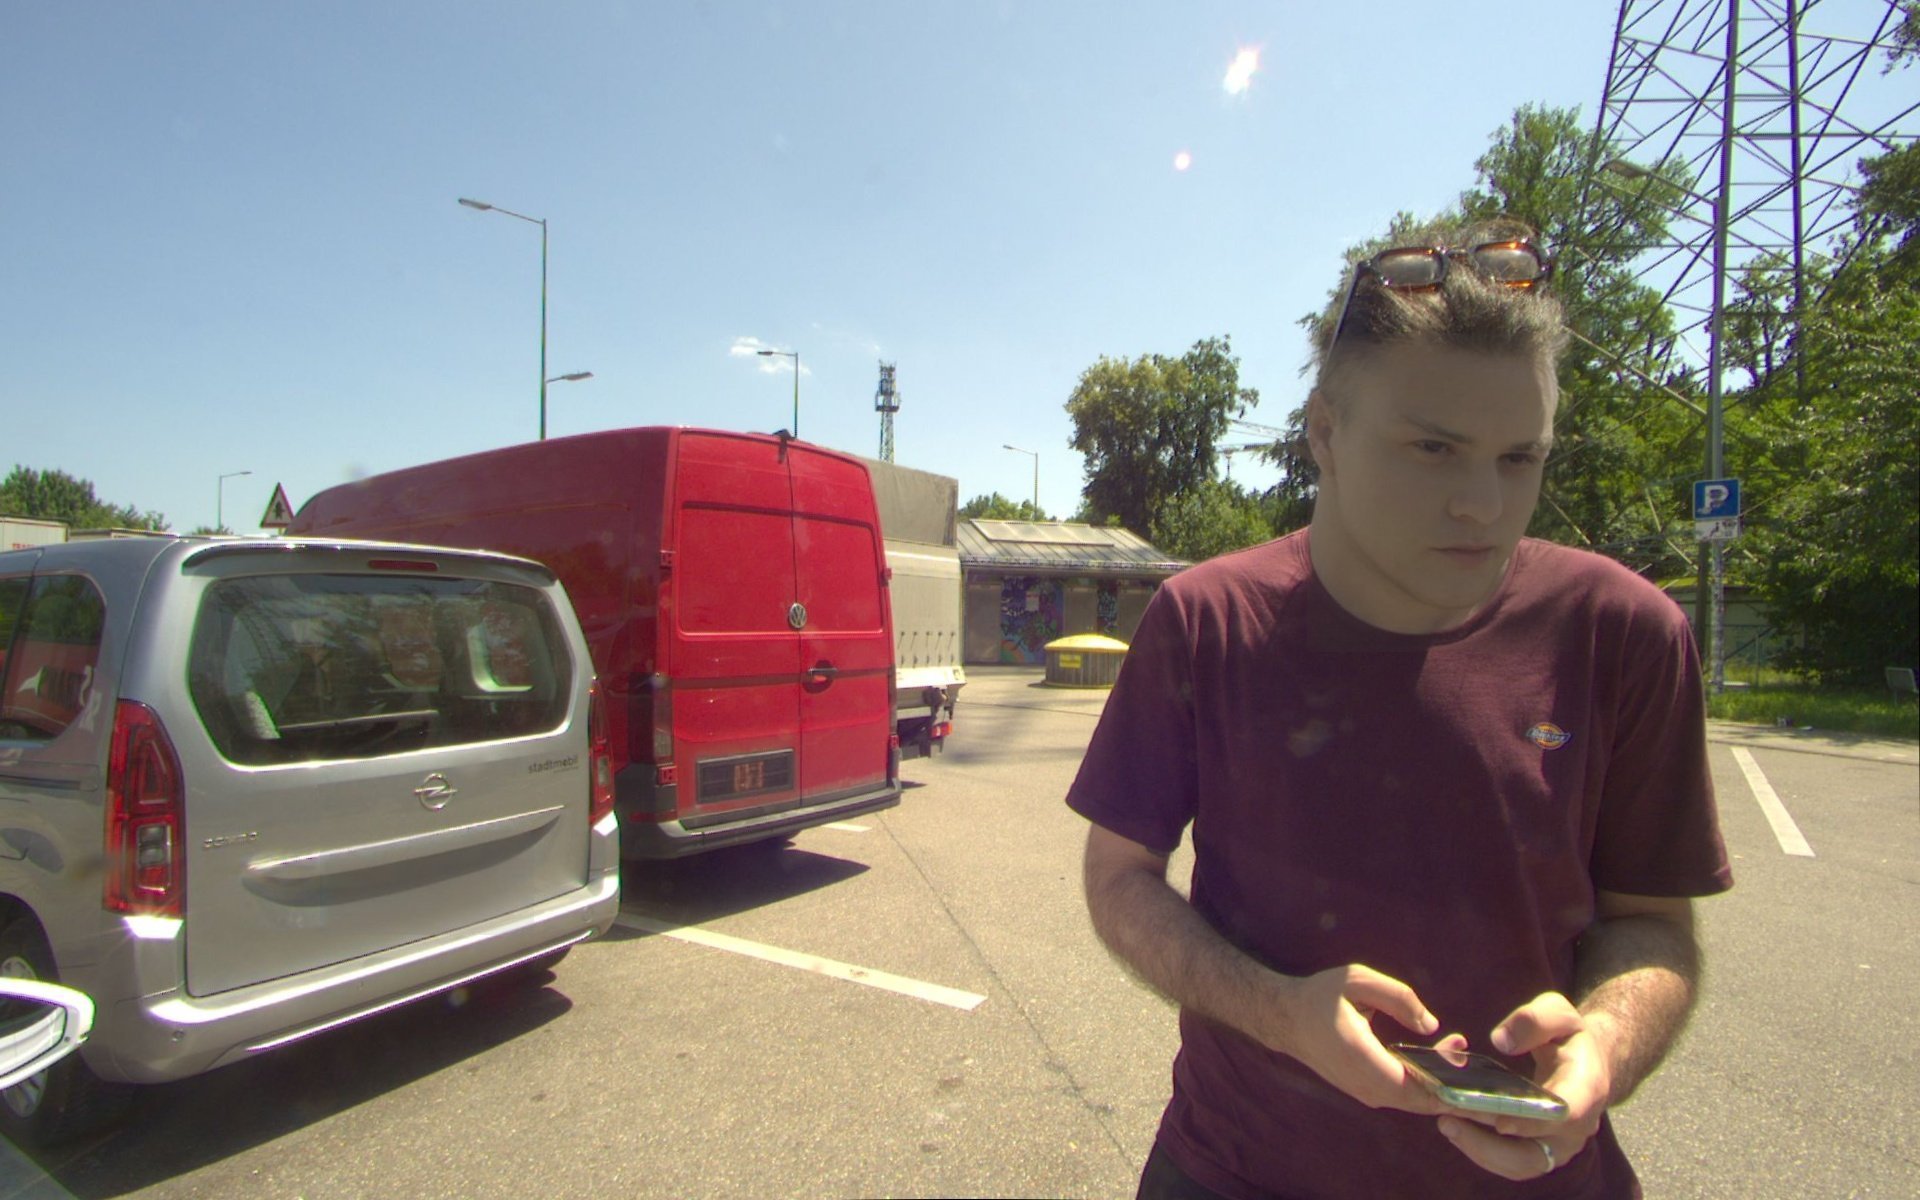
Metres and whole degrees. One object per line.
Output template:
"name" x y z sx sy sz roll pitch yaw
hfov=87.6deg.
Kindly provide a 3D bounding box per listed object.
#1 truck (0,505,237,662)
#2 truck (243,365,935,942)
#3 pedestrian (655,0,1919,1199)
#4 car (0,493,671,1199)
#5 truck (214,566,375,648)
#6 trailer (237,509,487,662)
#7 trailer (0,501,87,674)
"truck" -27.969 -0.392 31.784 14.316 4.175 2.901 0 -3 33
"truck" -2.850 0.268 6.988 5.233 2.658 1.987 0 -1 37
"pedestrian" 0.374 0.517 0.881 0.926 1.798 0.827 1 0 28
"car" -3.336 0.643 4.203 3.938 1.776 1.824 0 -1 29
"truck" -30.696 0.329 46.063 8.407 3.482 3.019 0 -1 33
"trailer" -19.043 -0.323 32.779 2.787 4.313 8.687 1 -1 1
"trailer" -28.783 -0.319 28.021 13.374 4.178 2.871 0 -1 33
